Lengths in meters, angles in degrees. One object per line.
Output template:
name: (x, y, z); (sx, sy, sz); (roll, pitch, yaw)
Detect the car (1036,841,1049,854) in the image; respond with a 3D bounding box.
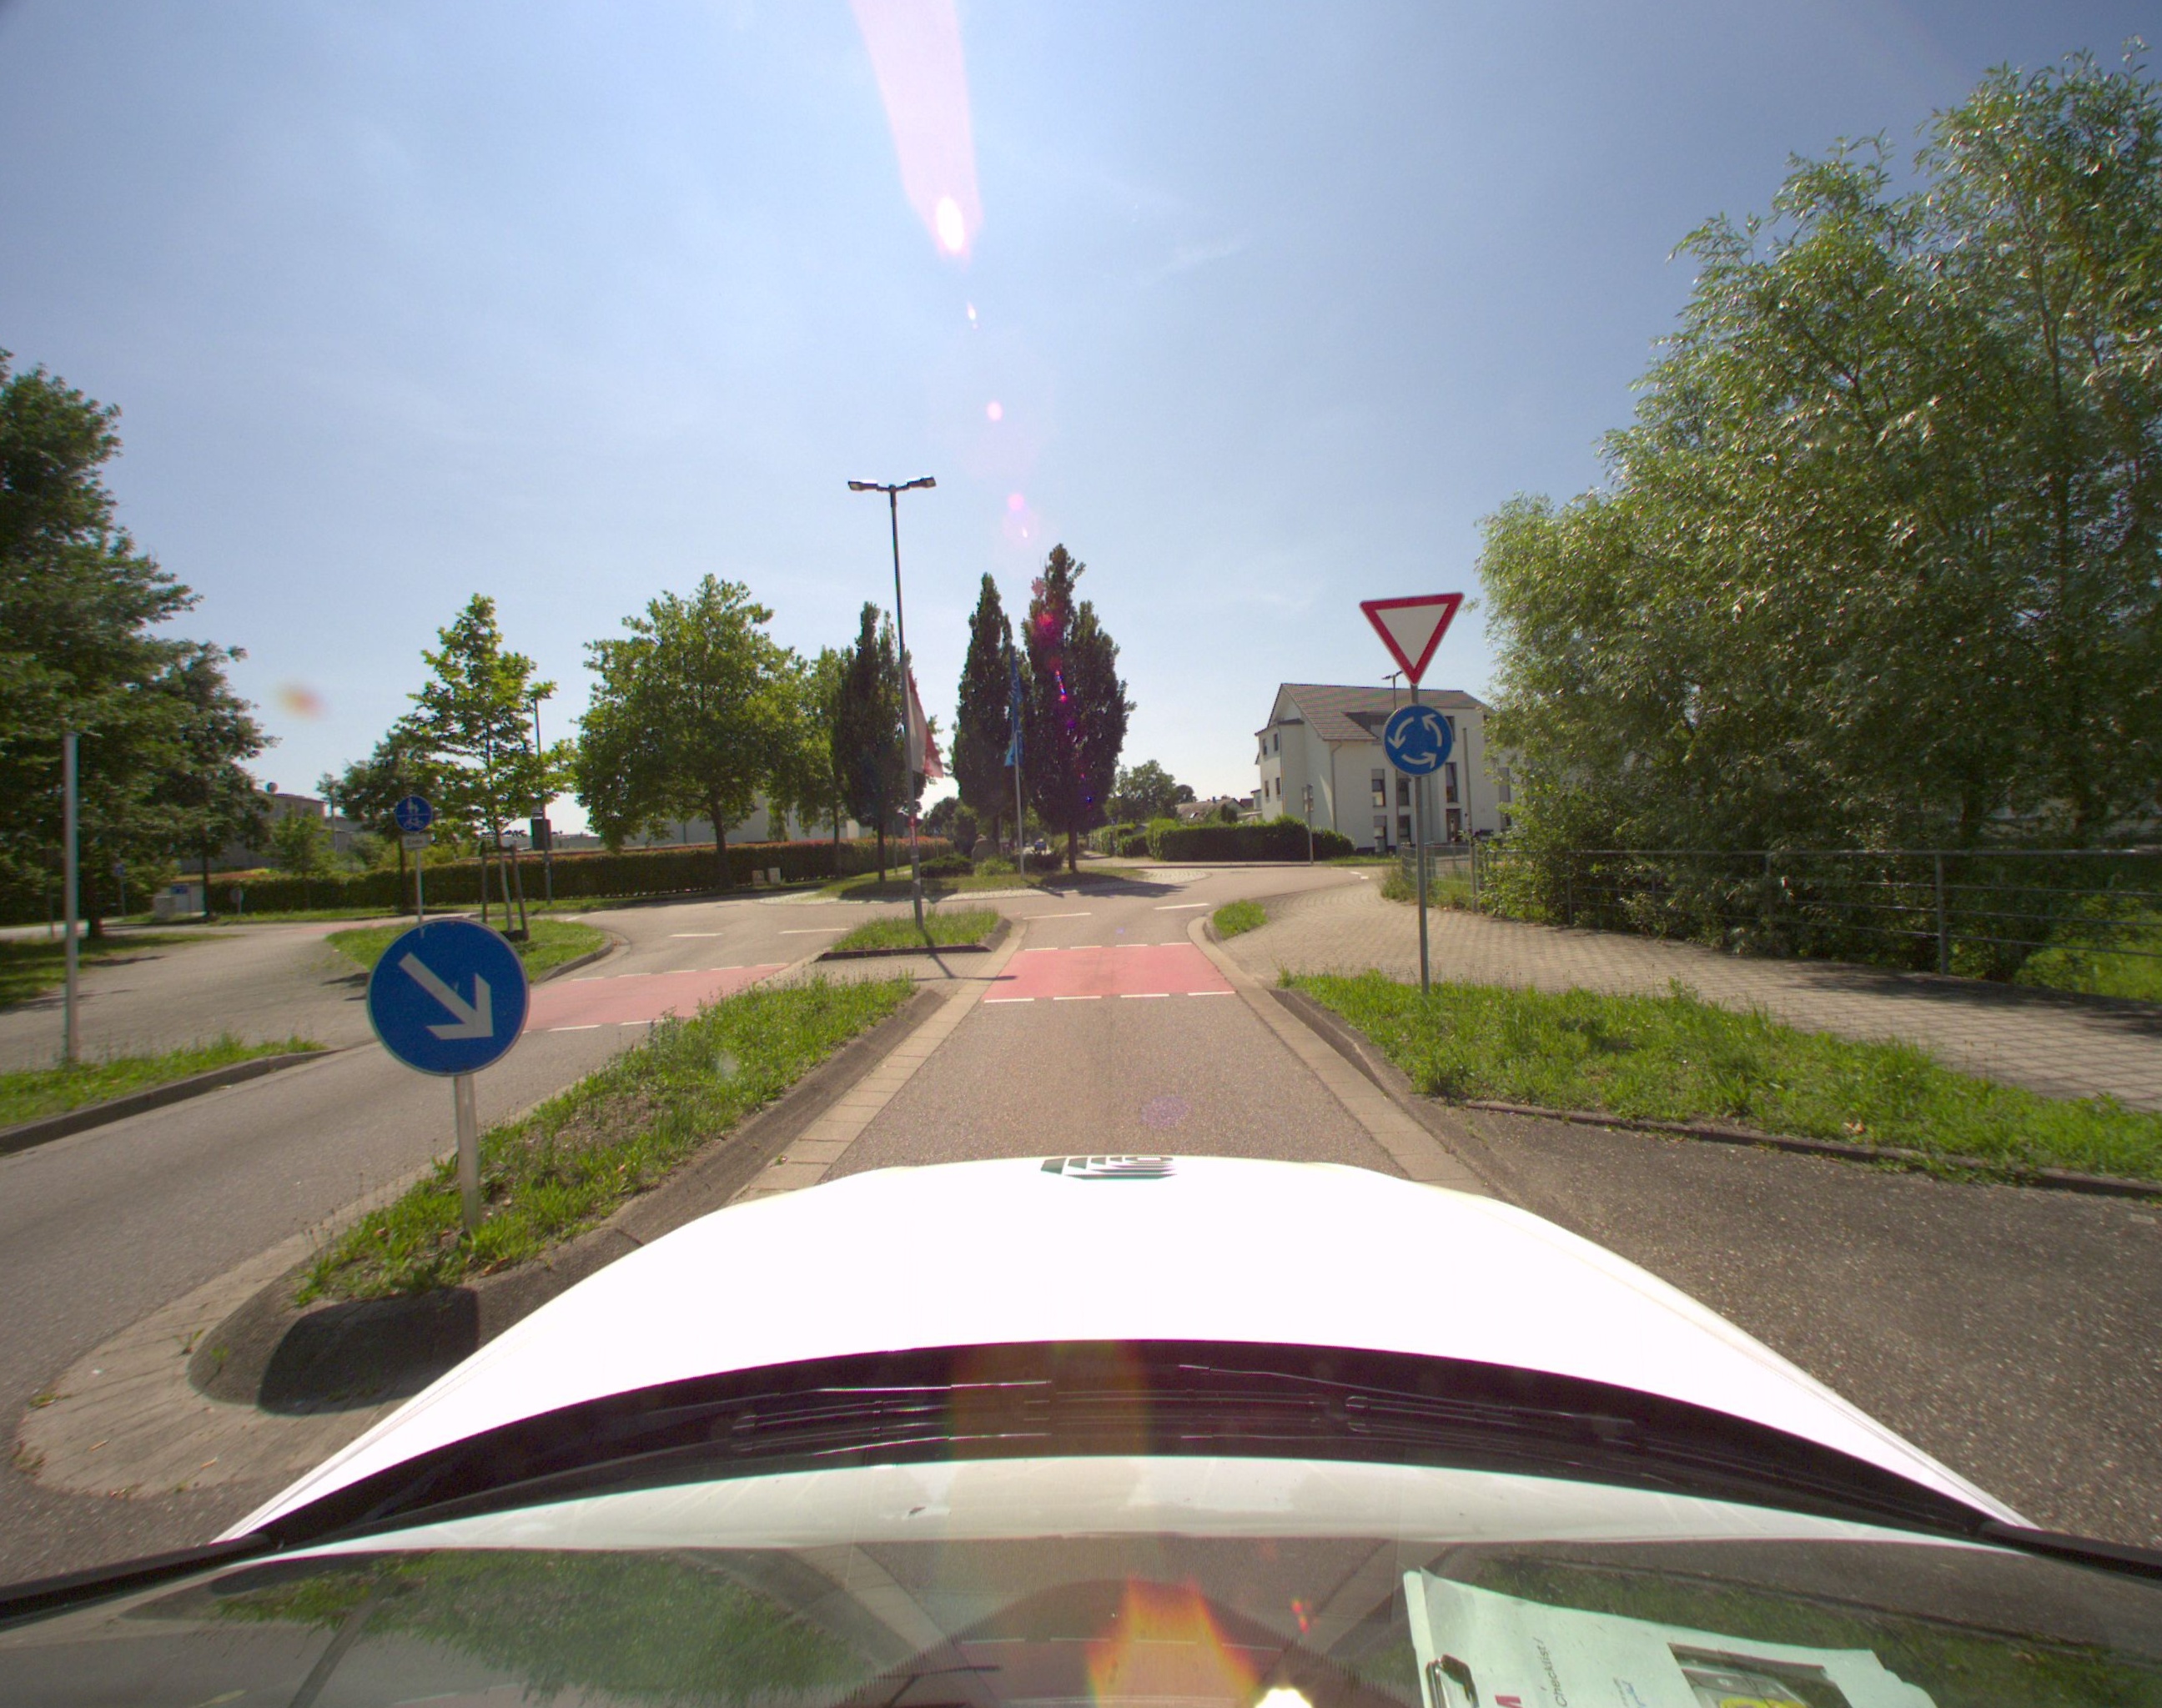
car: (-5.772, -0.933, 122.385); (1.919, 1.886, 3.996); (-2, 0, -3)

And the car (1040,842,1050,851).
car: (-7.009, -1.468, 159.236); (1.988, 1.770, 3.997); (-2, 0, -2)
